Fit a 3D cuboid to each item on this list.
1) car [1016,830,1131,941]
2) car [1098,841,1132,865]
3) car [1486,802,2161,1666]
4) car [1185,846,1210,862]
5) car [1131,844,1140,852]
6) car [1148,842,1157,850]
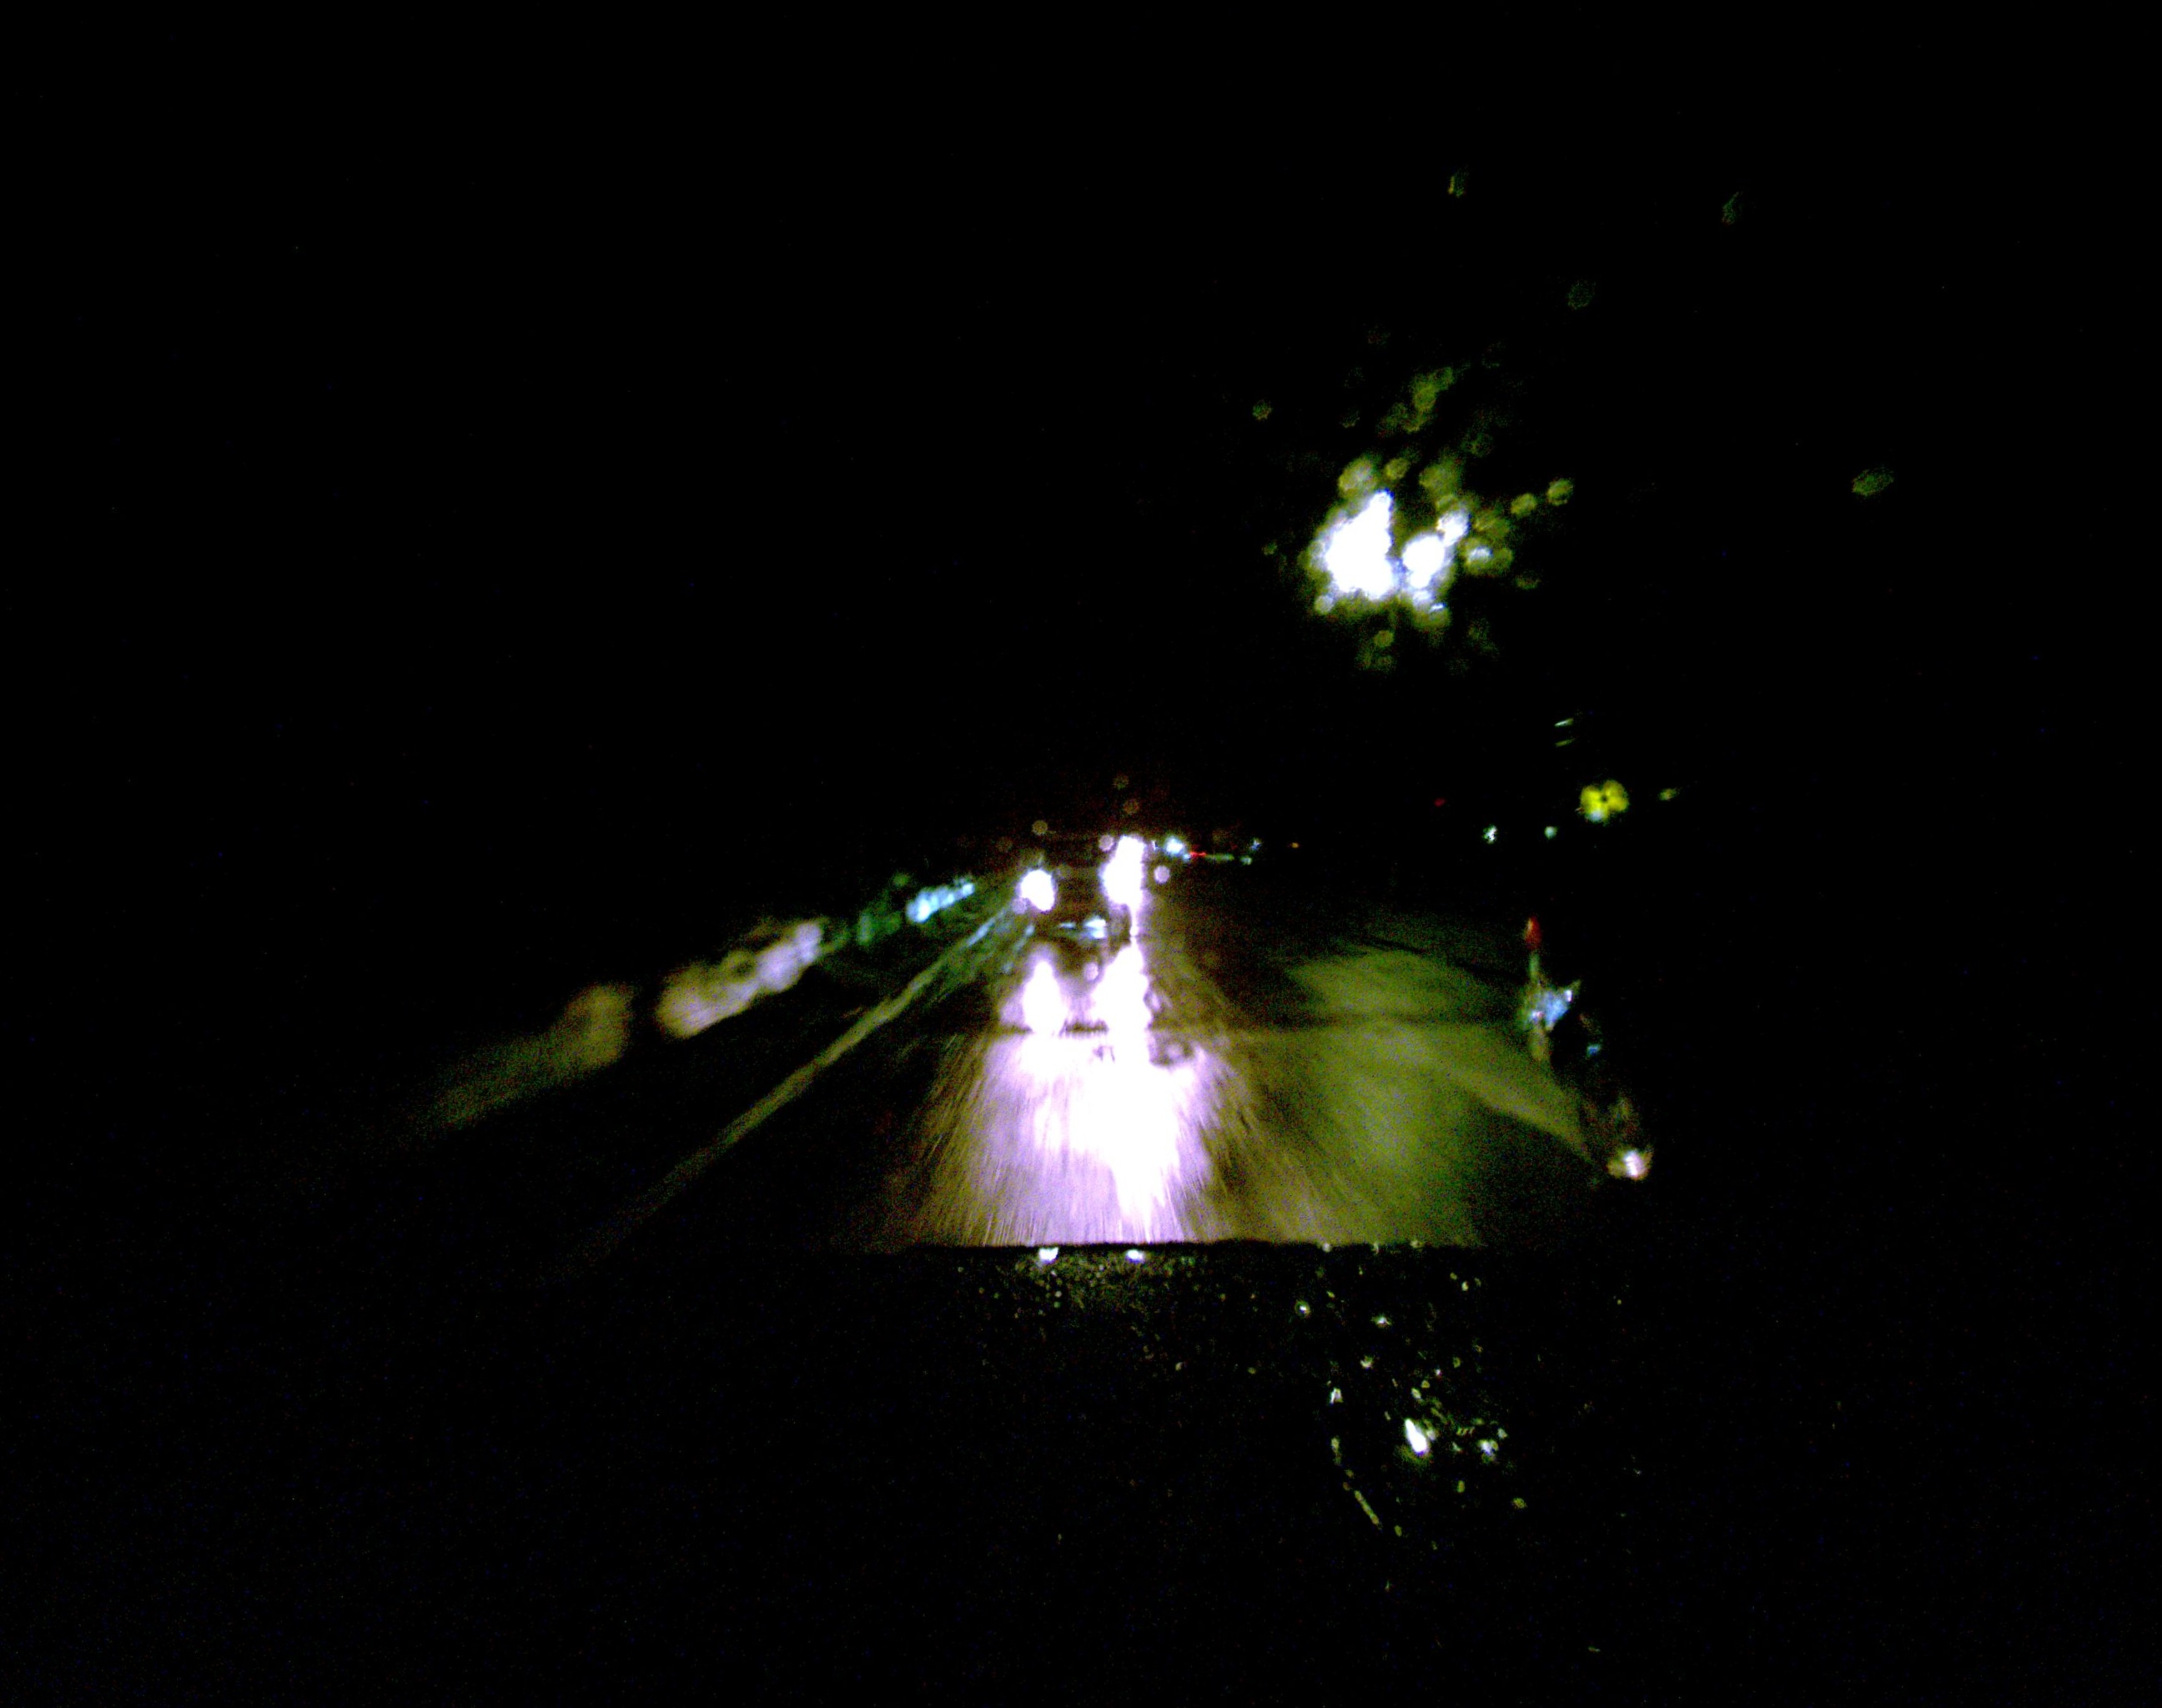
[{"bbox_3d":[-0.003,0.489,14.749,1.877,1.825,4.205,-1,1,3],"label":"car"},{"bbox_3d":[2.298,-0.119,51.736,1.999,1.456,3.998,-1,2,-2],"label":"car"},{"bbox_3d":[3.066,0.732,1.494,1.914,1.694,4.938,-1,1,0],"label":"car"},{"bbox_3d":[11.802,0.022,77.033,1.658,1.490,4.372,2,1,-3],"label":"car"},{"bbox_3d":[10.939,-1.225,152.038,1.750,1.495,4.893,-1,2,4],"label":"car"},{"bbox_3d":[18.728,-2.134,198.728,1.997,2.002,4.001,-1,2,7],"label":"car"}]
